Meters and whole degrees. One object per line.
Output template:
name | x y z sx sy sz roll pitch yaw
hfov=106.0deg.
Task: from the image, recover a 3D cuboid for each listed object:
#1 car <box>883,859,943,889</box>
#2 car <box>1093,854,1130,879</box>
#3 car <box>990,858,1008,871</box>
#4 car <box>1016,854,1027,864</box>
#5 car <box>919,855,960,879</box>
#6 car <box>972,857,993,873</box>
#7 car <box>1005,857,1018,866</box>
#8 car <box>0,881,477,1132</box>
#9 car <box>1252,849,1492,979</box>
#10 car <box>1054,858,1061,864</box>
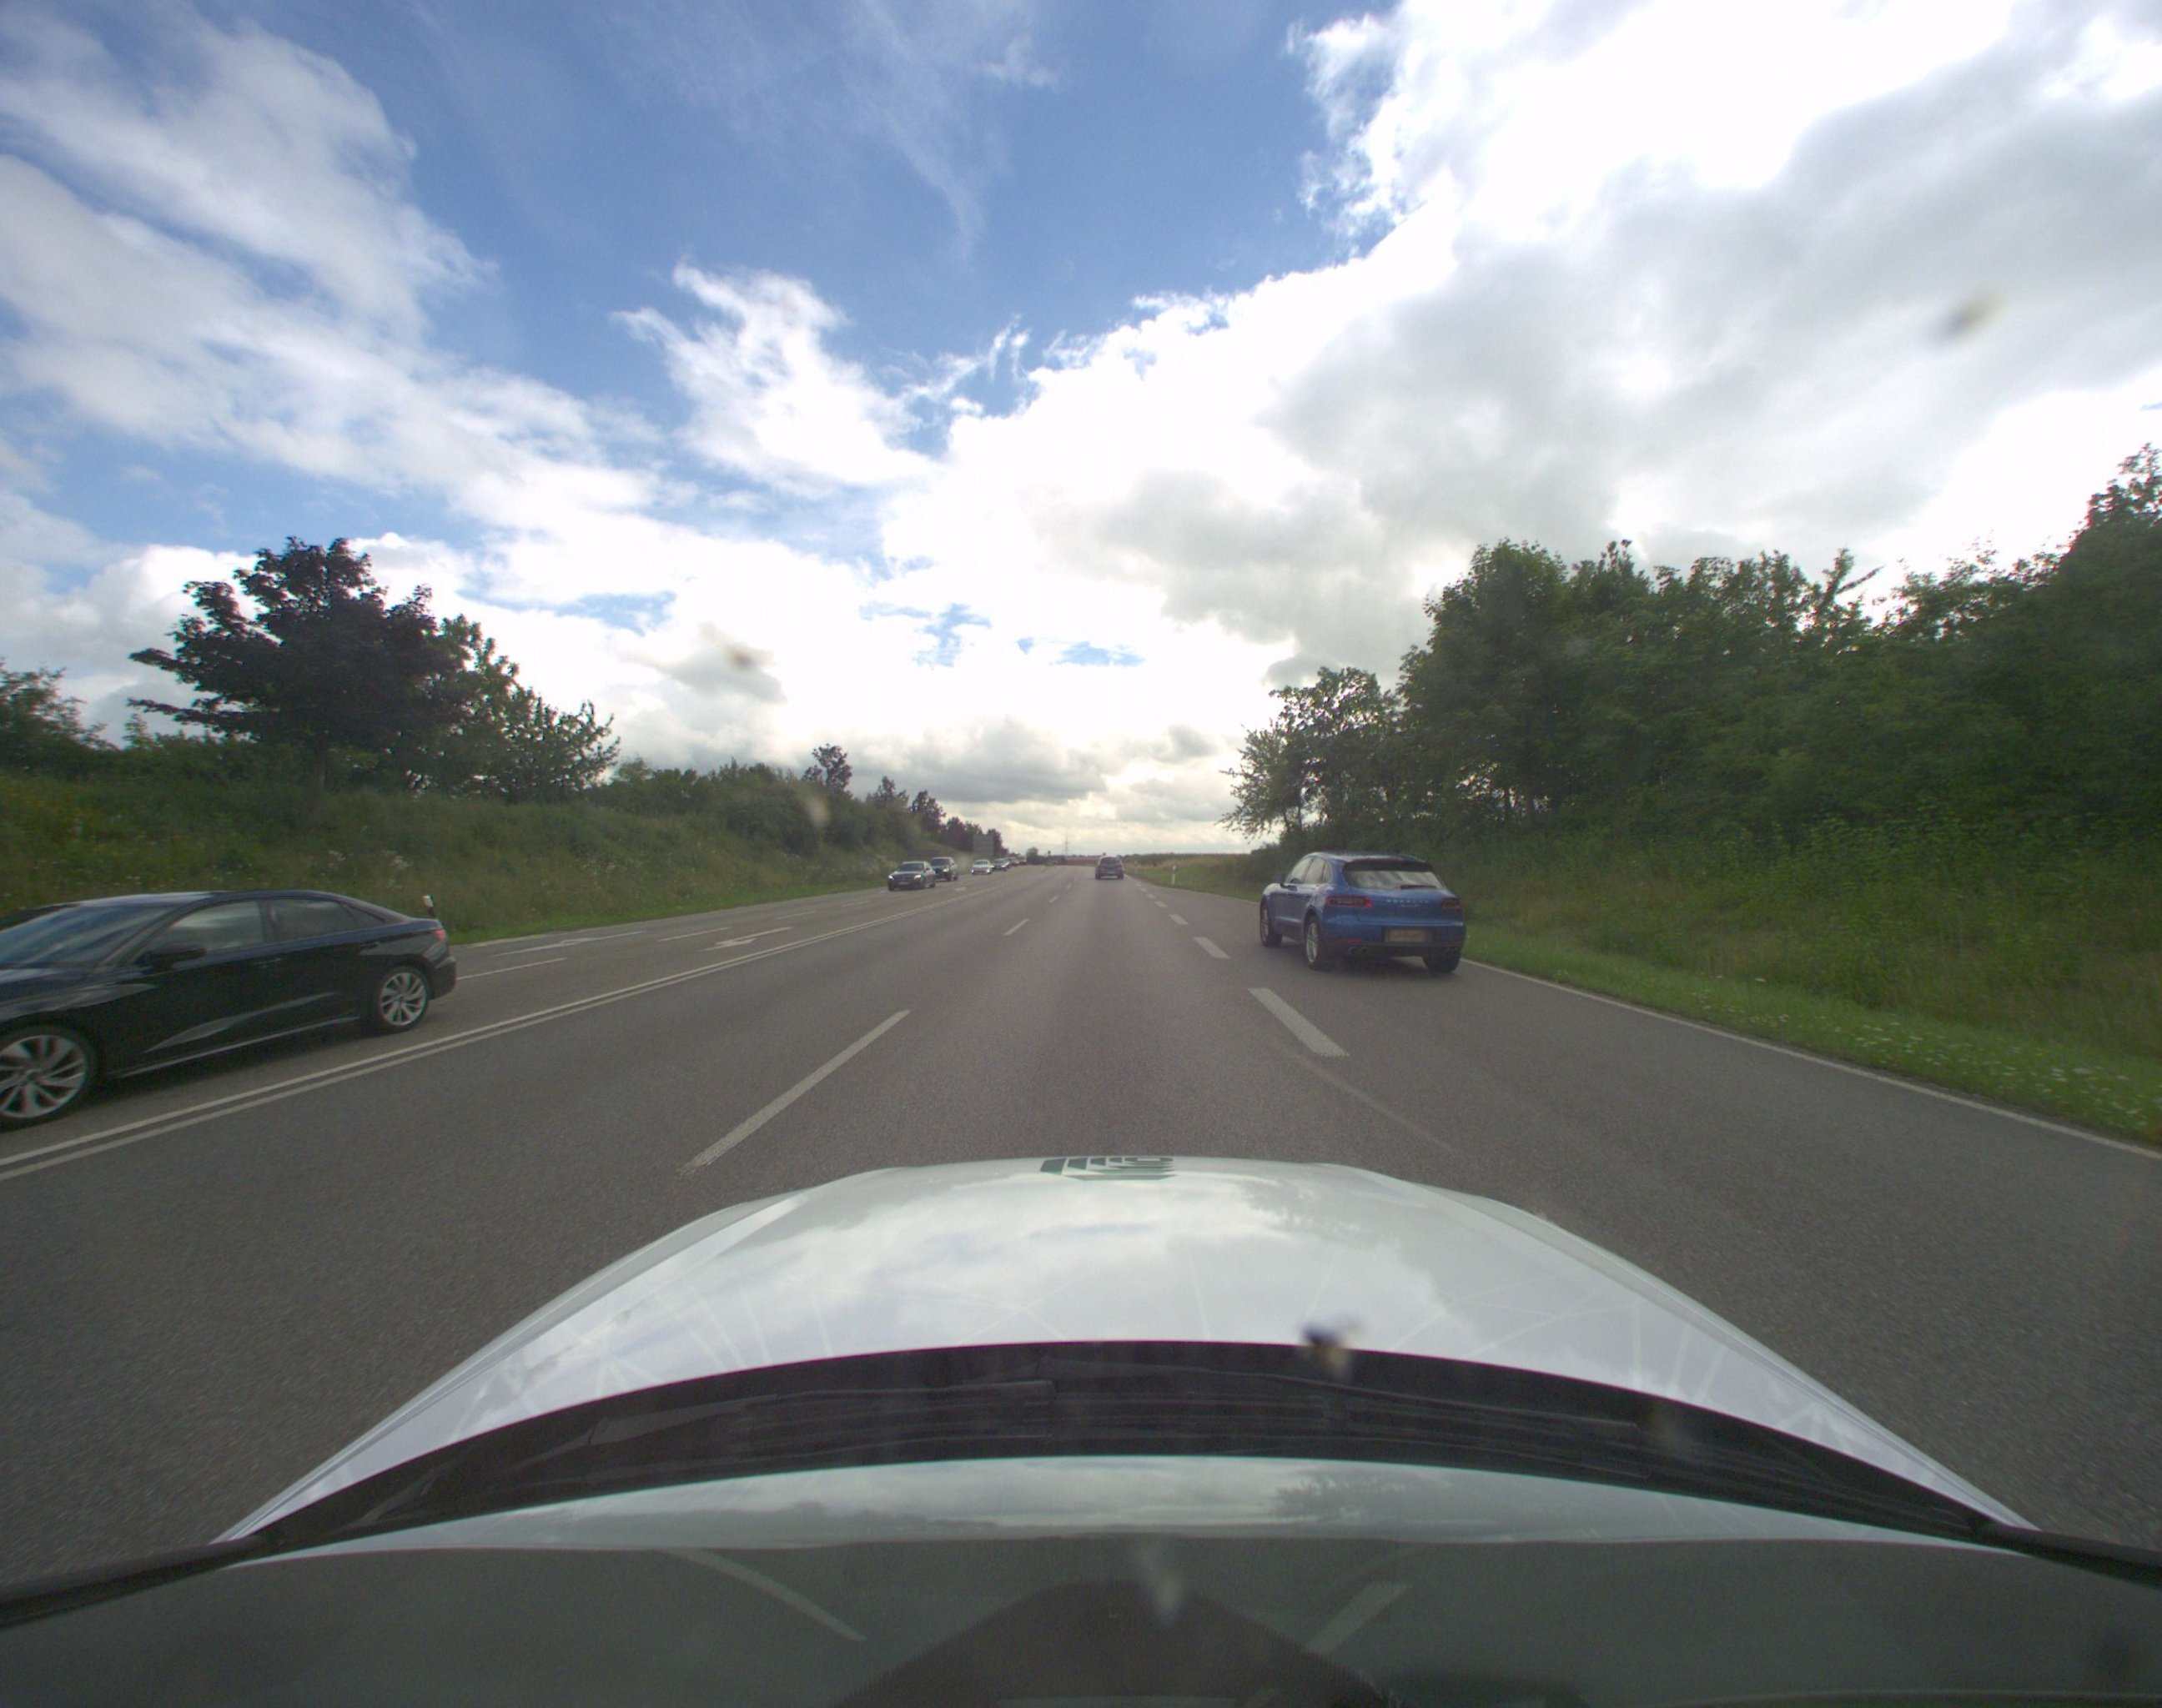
car | -8.973 1.028 43.836 1.986 1.494 4.995 -1 0 2
car | 1.956 0.804 53.349 1.990 1.535 3.994 0 0 -4
car | -10.068 1.315 99.641 1.989 1.508 3.995 -1 0 -3
car | -13.817 1.069 189.444 2.357 2.211 5.918 -1 0 -2
car | -9.938 0.896 57.572 1.988 1.610 4.991 -1 0 -1
car | -9.696 1.076 80.727 1.663 1.442 4.143 -1 0 -2
car | -11.916 1.223 140.027 1.987 1.508 3.999 -1 0 -1
car | -7.326 0.987 6.369 1.759 1.383 4.544 -1 0 1
car | 4.056 0.736 12.324 1.987 1.570 4.756 0 0 0
car | -7.102 2.252 248.538 1.987 1.715 4.000 -1 0 0
